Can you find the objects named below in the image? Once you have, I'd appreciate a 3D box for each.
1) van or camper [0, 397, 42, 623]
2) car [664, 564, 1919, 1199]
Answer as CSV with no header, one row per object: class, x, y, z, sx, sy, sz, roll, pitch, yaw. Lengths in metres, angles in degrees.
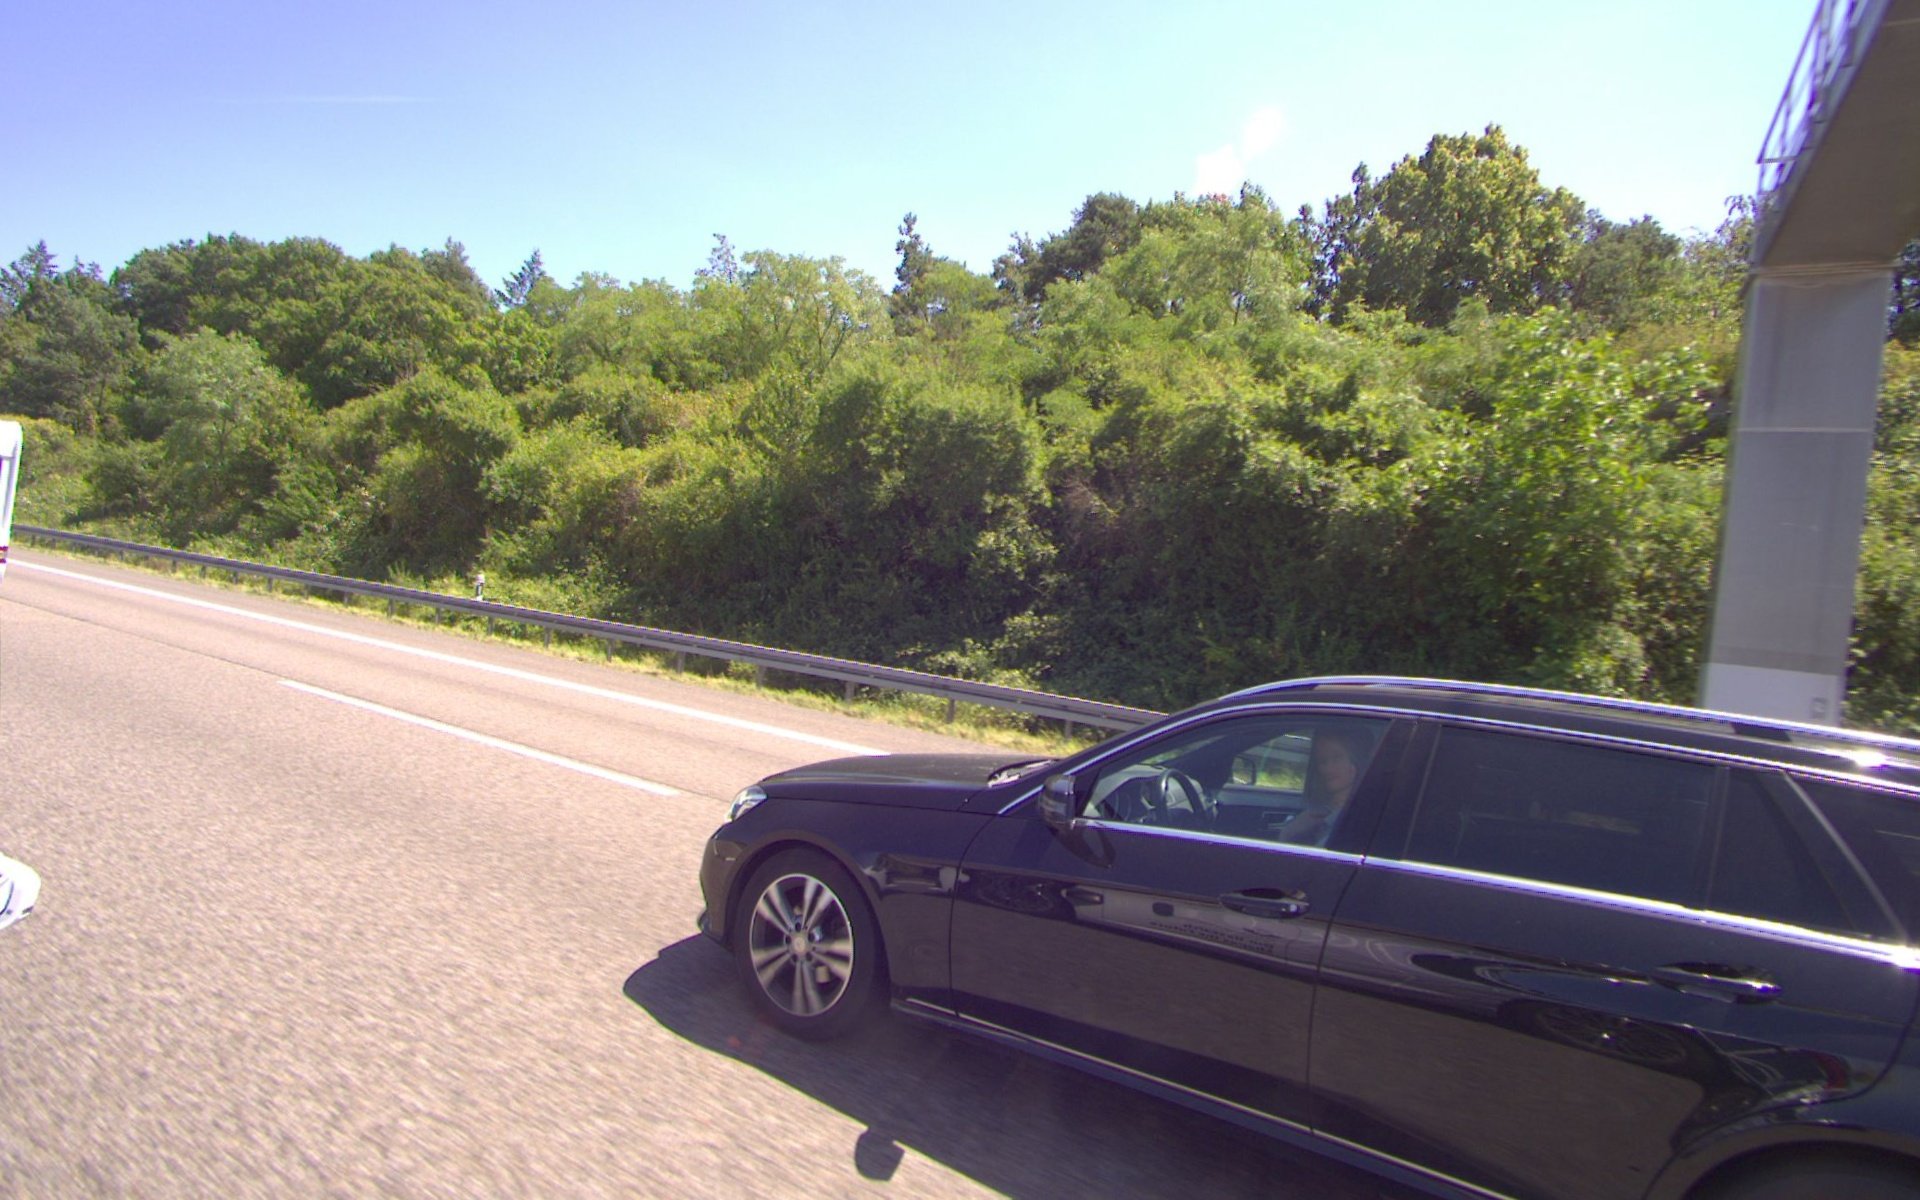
van or camper,-14.692,-1.464,12.994,6.245,2.707,2.442,7,0,32
car,1.436,0.961,3.271,4.659,1.523,1.844,7,-1,32
